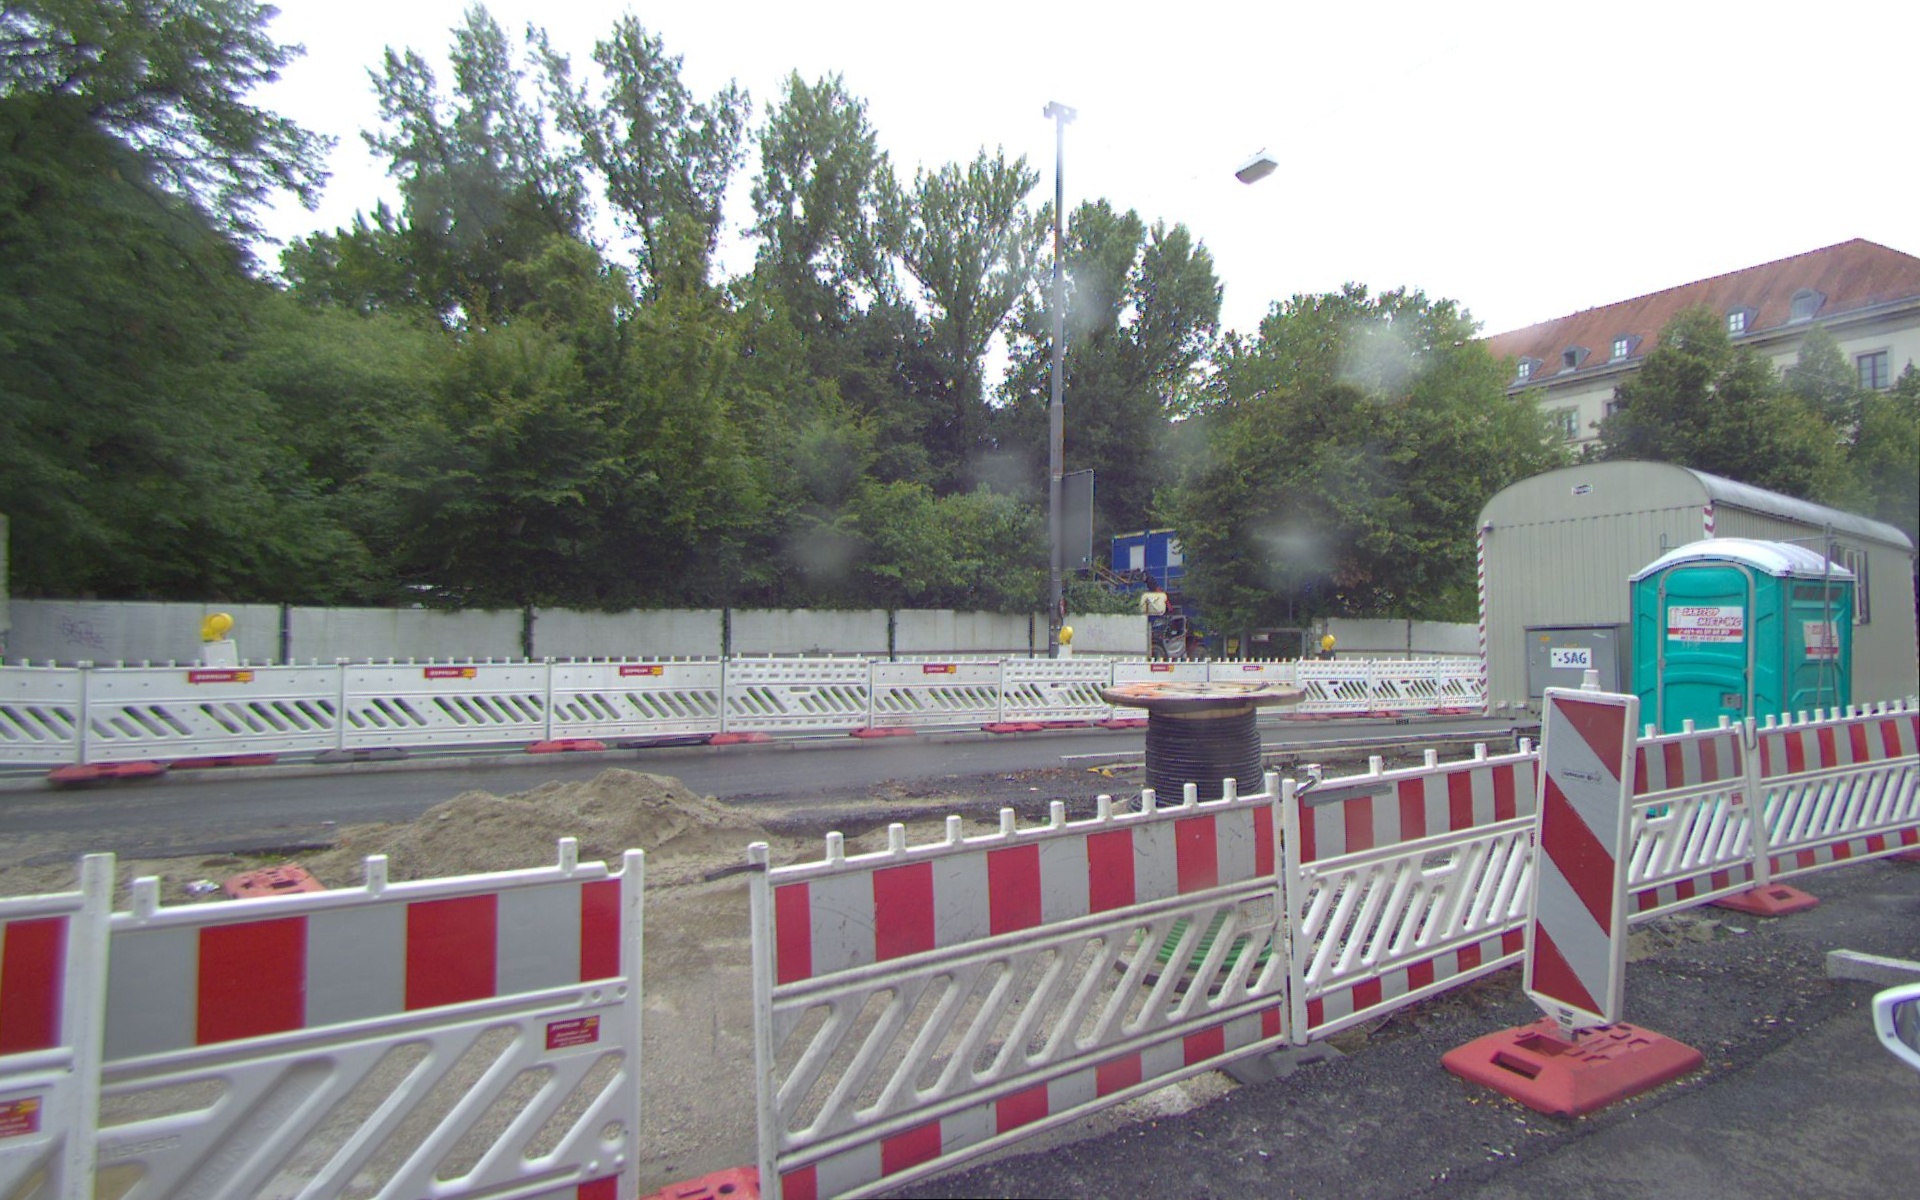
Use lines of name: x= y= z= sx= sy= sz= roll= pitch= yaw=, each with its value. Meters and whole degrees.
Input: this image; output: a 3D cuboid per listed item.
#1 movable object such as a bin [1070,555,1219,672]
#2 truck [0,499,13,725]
movable object such as a bin: x=6.753 y=0.556 z=36.598 sx=5.009 sy=4.014 sz=2.453 roll=2 pitch=-2 yaw=-32
truck: x=-14.646 y=0.063 z=10.738 sx=6.132 sy=2.886 sz=2.115 roll=1 pitch=-2 yaw=-28
